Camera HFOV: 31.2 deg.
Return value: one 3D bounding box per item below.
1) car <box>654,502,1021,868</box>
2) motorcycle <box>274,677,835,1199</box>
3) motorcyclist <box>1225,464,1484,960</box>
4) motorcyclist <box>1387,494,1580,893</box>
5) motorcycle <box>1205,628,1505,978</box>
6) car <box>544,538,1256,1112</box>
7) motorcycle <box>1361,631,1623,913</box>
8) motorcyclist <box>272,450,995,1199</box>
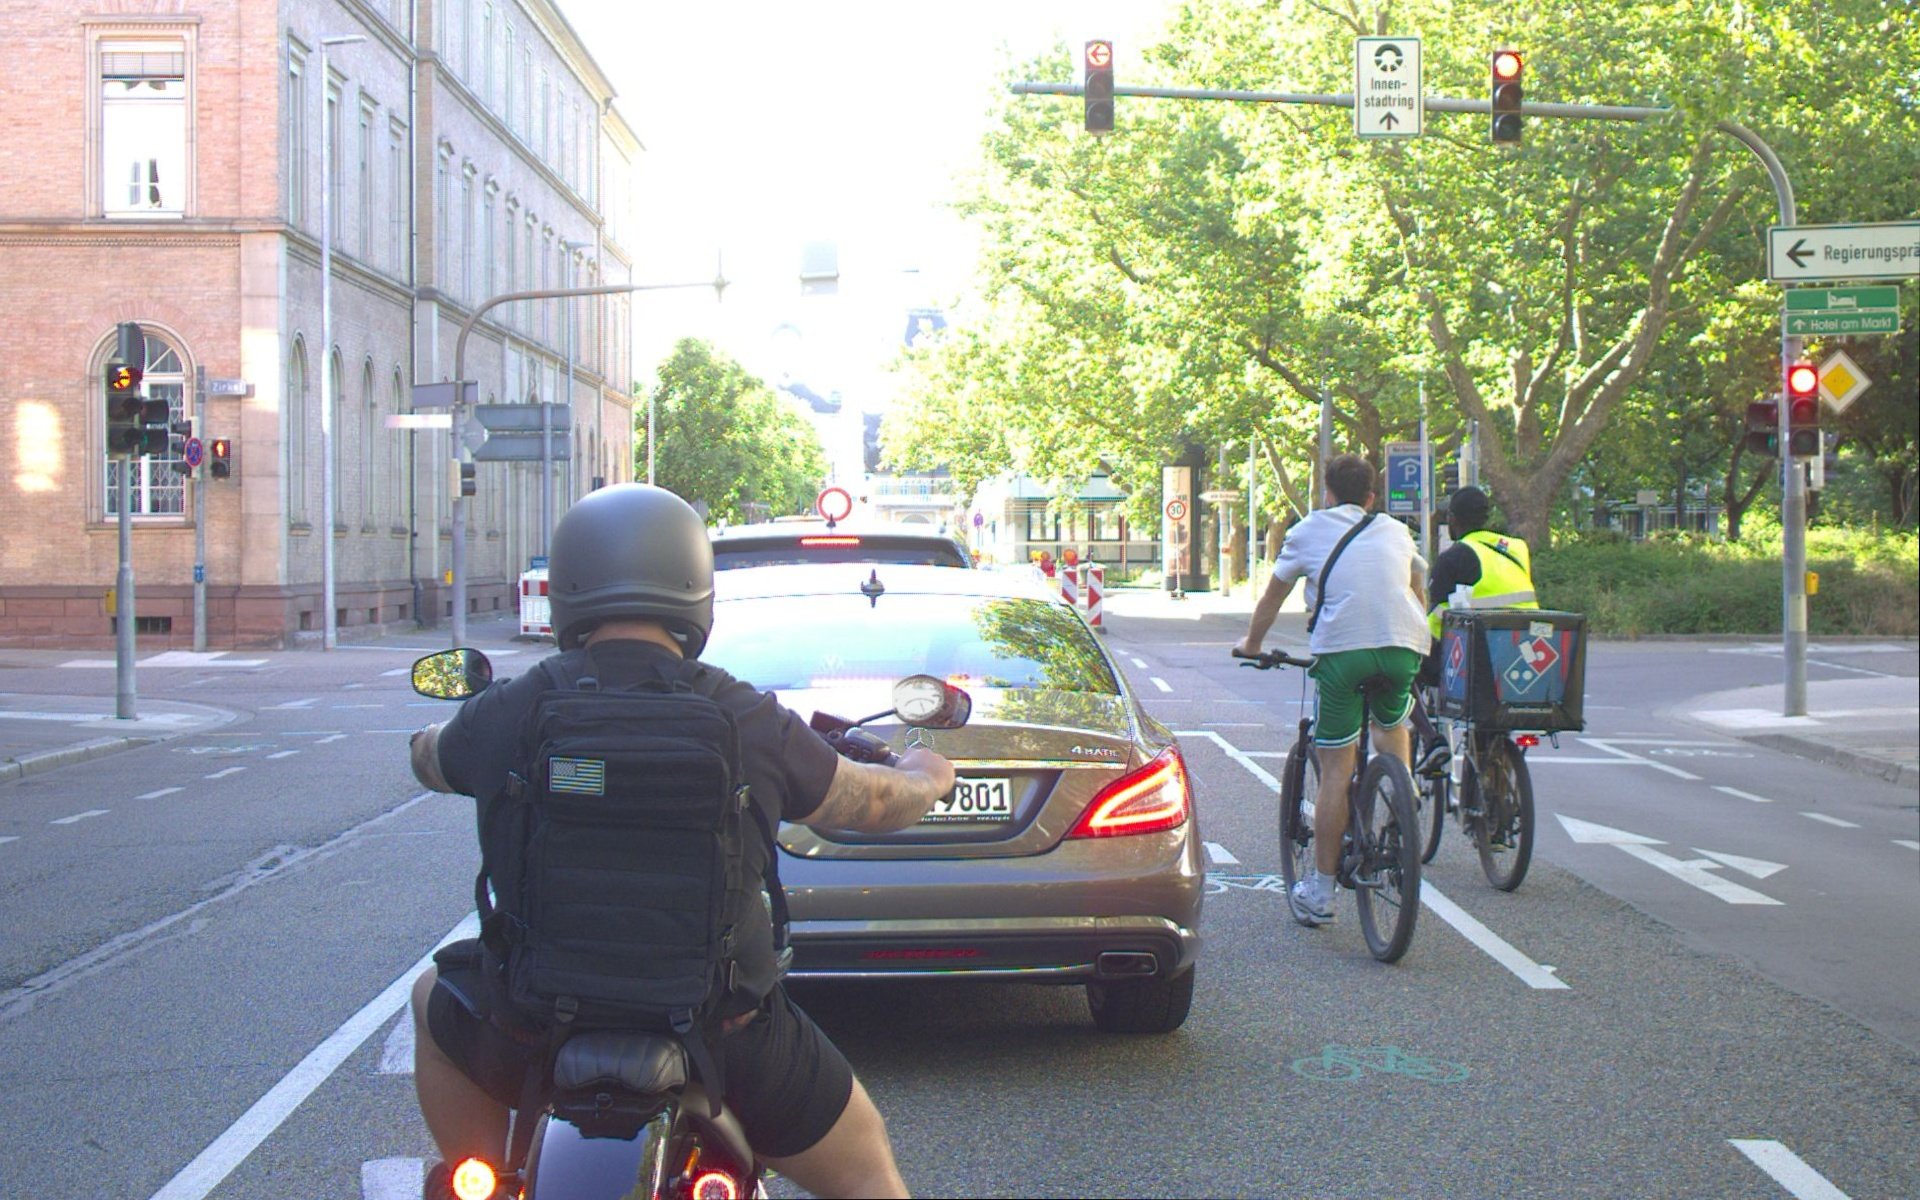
[{"bbox_3d":[-0.577,0.369,17.679,1.651,1.646,4.000,1,1,-1],"label":"car"},{"bbox_3d":[-0.561,0.777,5.434,0.660,1.236,2.058,1,1,-1],"label":"motorcycle"},{"bbox_3d":[1.459,0.400,12.878,0.831,1.782,0.913,1,0,-1],"label":"motorcyclist"},{"bbox_3d":[2.339,0.406,15.438,0.717,1.737,0.751,1,0,-1],"label":"motorcyclist"},{"bbox_3d":[1.437,0.712,12.864,0.863,1.164,1.930,1,1,-1],"label":"motorcycle"},{"bbox_3d":[-0.406,0.567,11.140,1.824,1.481,4.334,1,1,-7],"label":"car"},{"bbox_3d":[2.363,0.732,15.539,0.797,1.128,2.236,1,1,-1],"label":"motorcycle"},{"bbox_3d":[-0.464,0.595,5.340,0.990,1.605,1.120,1,0,-1],"label":"motorcyclist"}]
